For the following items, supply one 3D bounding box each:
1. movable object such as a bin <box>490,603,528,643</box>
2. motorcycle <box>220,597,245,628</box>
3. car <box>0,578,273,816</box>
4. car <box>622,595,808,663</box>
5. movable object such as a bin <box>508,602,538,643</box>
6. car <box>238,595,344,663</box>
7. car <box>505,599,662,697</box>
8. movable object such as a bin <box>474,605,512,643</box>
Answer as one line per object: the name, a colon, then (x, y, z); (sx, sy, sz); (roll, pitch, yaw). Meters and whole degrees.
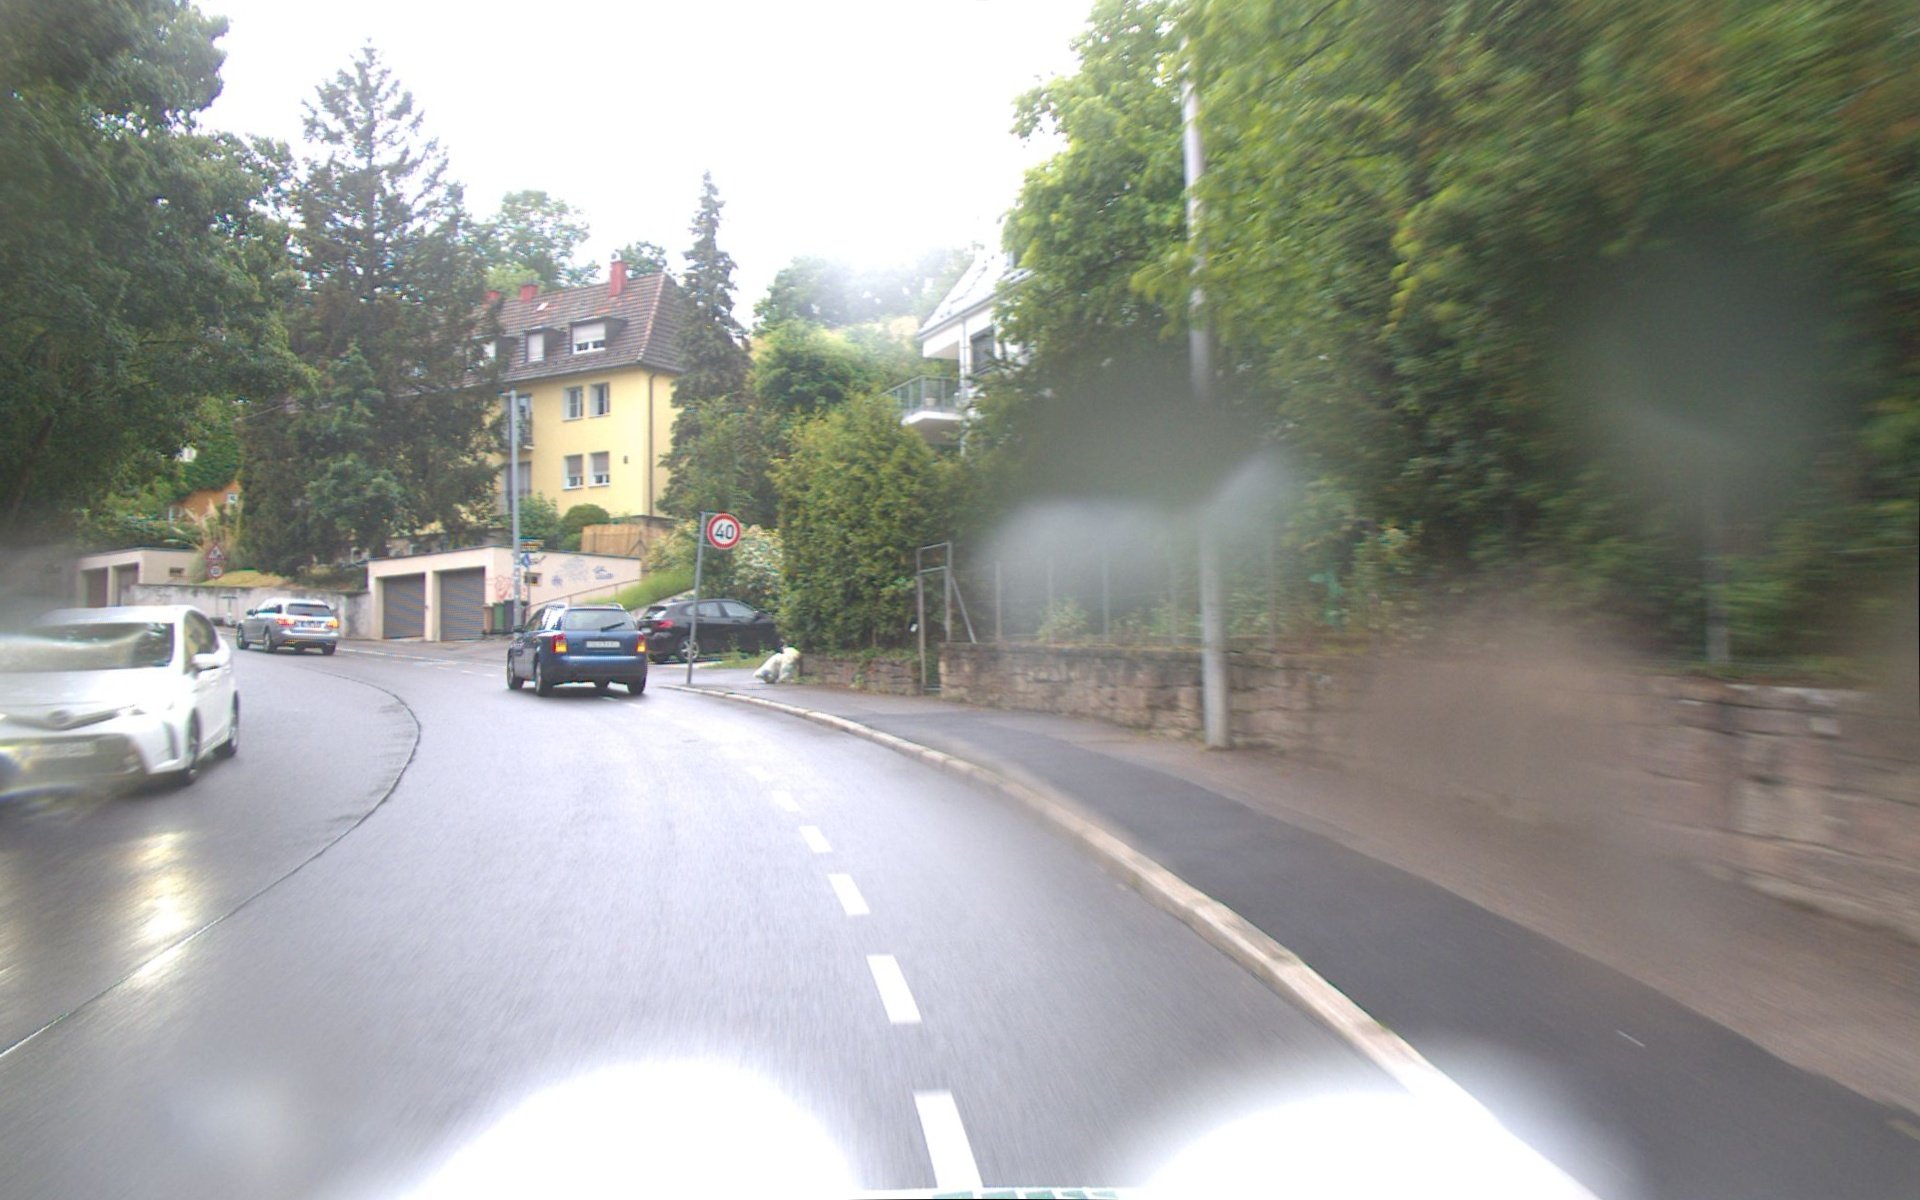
movable object such as a bin: (-14.100, 0.710, 51.706); (0.771, 1.206, 0.859); (0, 0, 36)
motorcycle: (-27.958, 0.477, 63.567); (0.544, 1.151, 1.420); (0, 0, -38)
car: (-7.844, 0.766, 15.590); (1.953, 1.819, 4.673); (-3, 1, -17)
car: (-5.821, 0.652, 39.591); (4.143, 1.534, 1.715); (-1, 0, -40)
movable object such as a bin: (-13.549, 0.703, 51.249); (0.569, 1.244, 0.702); (0, 0, 36)
car: (-18.468, 0.770, 45.567); (1.932, 1.588, 4.216); (2, 1, -33)
car: (-6.347, 0.729, 27.542); (1.829, 1.438, 4.331); (-1, 1, -23)
movable object such as a bin: (-14.726, 0.749, 52.170); (0.783, 1.162, 0.859); (0, 0, 36)
